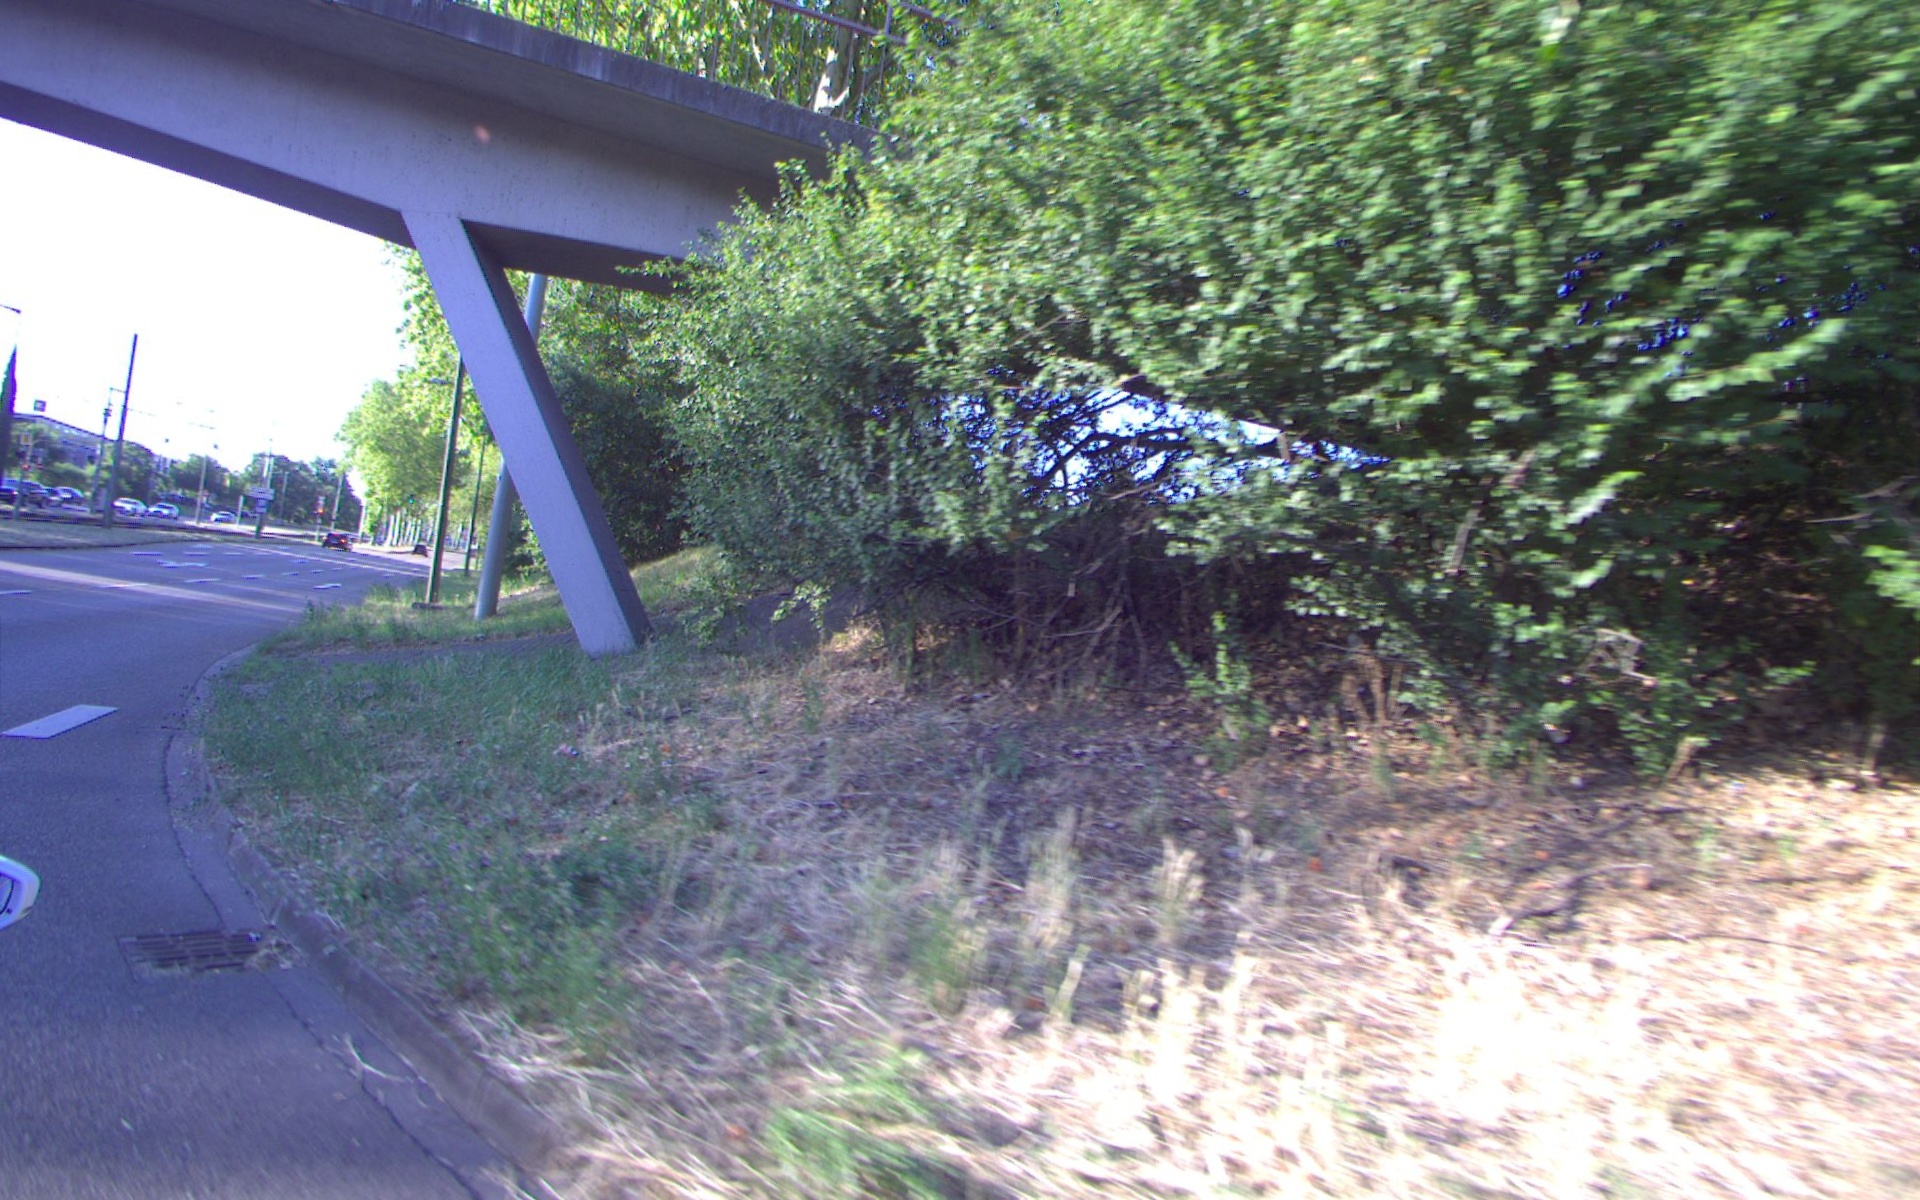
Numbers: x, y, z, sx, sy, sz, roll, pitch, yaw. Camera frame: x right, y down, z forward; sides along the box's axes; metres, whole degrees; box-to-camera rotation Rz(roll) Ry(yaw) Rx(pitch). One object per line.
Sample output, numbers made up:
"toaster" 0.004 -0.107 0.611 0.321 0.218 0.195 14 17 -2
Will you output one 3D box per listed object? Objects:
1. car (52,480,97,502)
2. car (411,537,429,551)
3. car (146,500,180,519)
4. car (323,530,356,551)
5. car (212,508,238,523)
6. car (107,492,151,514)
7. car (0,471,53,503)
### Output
"car" -83.440 -10.265 94.883 1.823 1.498 4.570 10 -2 -26
"car" -67.620 -7.065 126.070 1.779 1.419 3.663 10 -2 -28
"car" -80.389 -9.096 101.498 1.640 1.432 4.230 9 -1 -27
"car" -52.320 -4.984 84.885 1.776 1.419 3.668 8 -1 -24
"car" -88.939 -10.178 121.736 1.639 1.432 4.232 9 -1 -25
"car" -73.611 -8.596 89.157 1.823 1.432 4.569 9 -1 -27
"car" -63.221 -7.630 67.711 1.823 1.673 4.408 10 -2 -26
